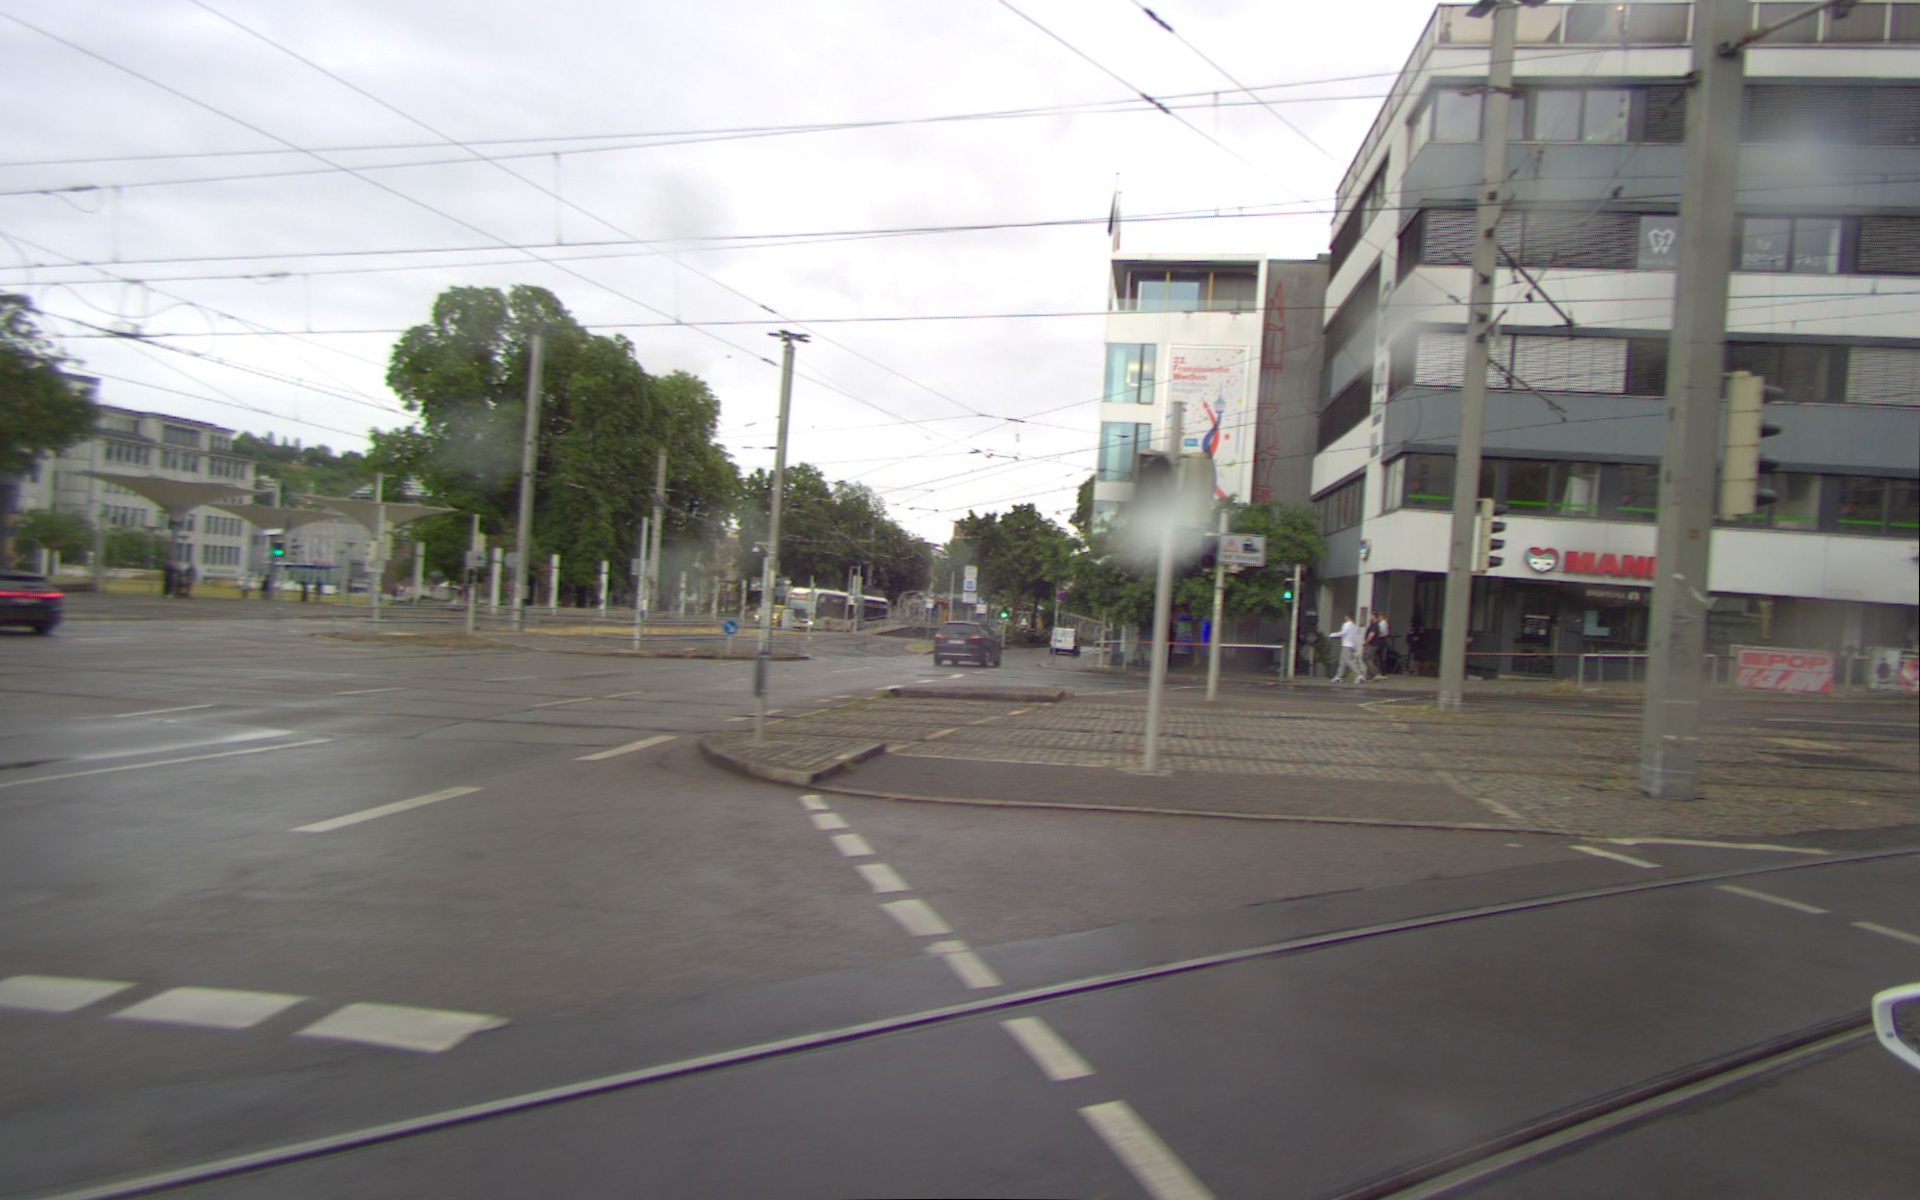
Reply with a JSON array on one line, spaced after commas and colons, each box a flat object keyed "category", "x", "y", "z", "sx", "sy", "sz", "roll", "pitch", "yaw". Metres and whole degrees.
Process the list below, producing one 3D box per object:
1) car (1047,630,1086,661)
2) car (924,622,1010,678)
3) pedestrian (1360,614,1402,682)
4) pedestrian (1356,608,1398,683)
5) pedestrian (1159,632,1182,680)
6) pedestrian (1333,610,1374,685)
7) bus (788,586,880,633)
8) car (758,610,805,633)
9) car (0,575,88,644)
[{"category": "car", "x": 7.578, "y": 3.179, "z": 71.179, "sx": 2.001, "sy": 1.864, "sz": 4.394, "roll": 4, "pitch": 0, "yaw": 14}, {"category": "car", "x": 0.311, "y": 1.640, "z": 34.515, "sx": 2.001, "sy": 1.605, "sz": 4.395, "roll": 4, "pitch": 0, "yaw": 12}, {"category": "pedestrian", "x": 11.432, "y": 1.299, "z": 27.274, "sx": 0.690, "sy": 1.785, "sz": 0.713, "roll": 3, "pitch": 0, "yaw": -33}, {"category": "pedestrian", "x": 11.168, "y": 1.210, "z": 26.905, "sx": 0.692, "sy": 1.939, "sz": 0.711, "roll": 3, "pitch": 0, "yaw": -39}, {"category": "pedestrian", "x": 7.190, "y": 1.908, "z": 34.327, "sx": 0.534, "sy": 1.584, "sz": 0.520, "roll": 3, "pitch": 0, "yaw": 33}, {"category": "pedestrian", "x": 10.446, "y": 1.252, "z": 26.668, "sx": 0.692, "sy": 1.939, "sz": 0.711, "roll": 3, "pitch": 0, "yaw": -39}, {"category": "bus", "x": -9.981, "y": 0.838, "z": 81.647, "sx": 3.025, "sy": 3.344, "sz": 12.530, "roll": 3, "pitch": -1, "yaw": 14}, {"category": "car", "x": -13.917, "y": 1.694, "z": 78.634, "sx": 1.959, "sy": 1.667, "sz": 4.539, "roll": 3, "pitch": -1, "yaw": 13}, {"category": "car", "x": -23.776, "y": 0.157, "z": 24.342, "sx": 4.640, "sy": 1.525, "sz": 2.105, "roll": 3, "pitch": 0, "yaw": 23}]
